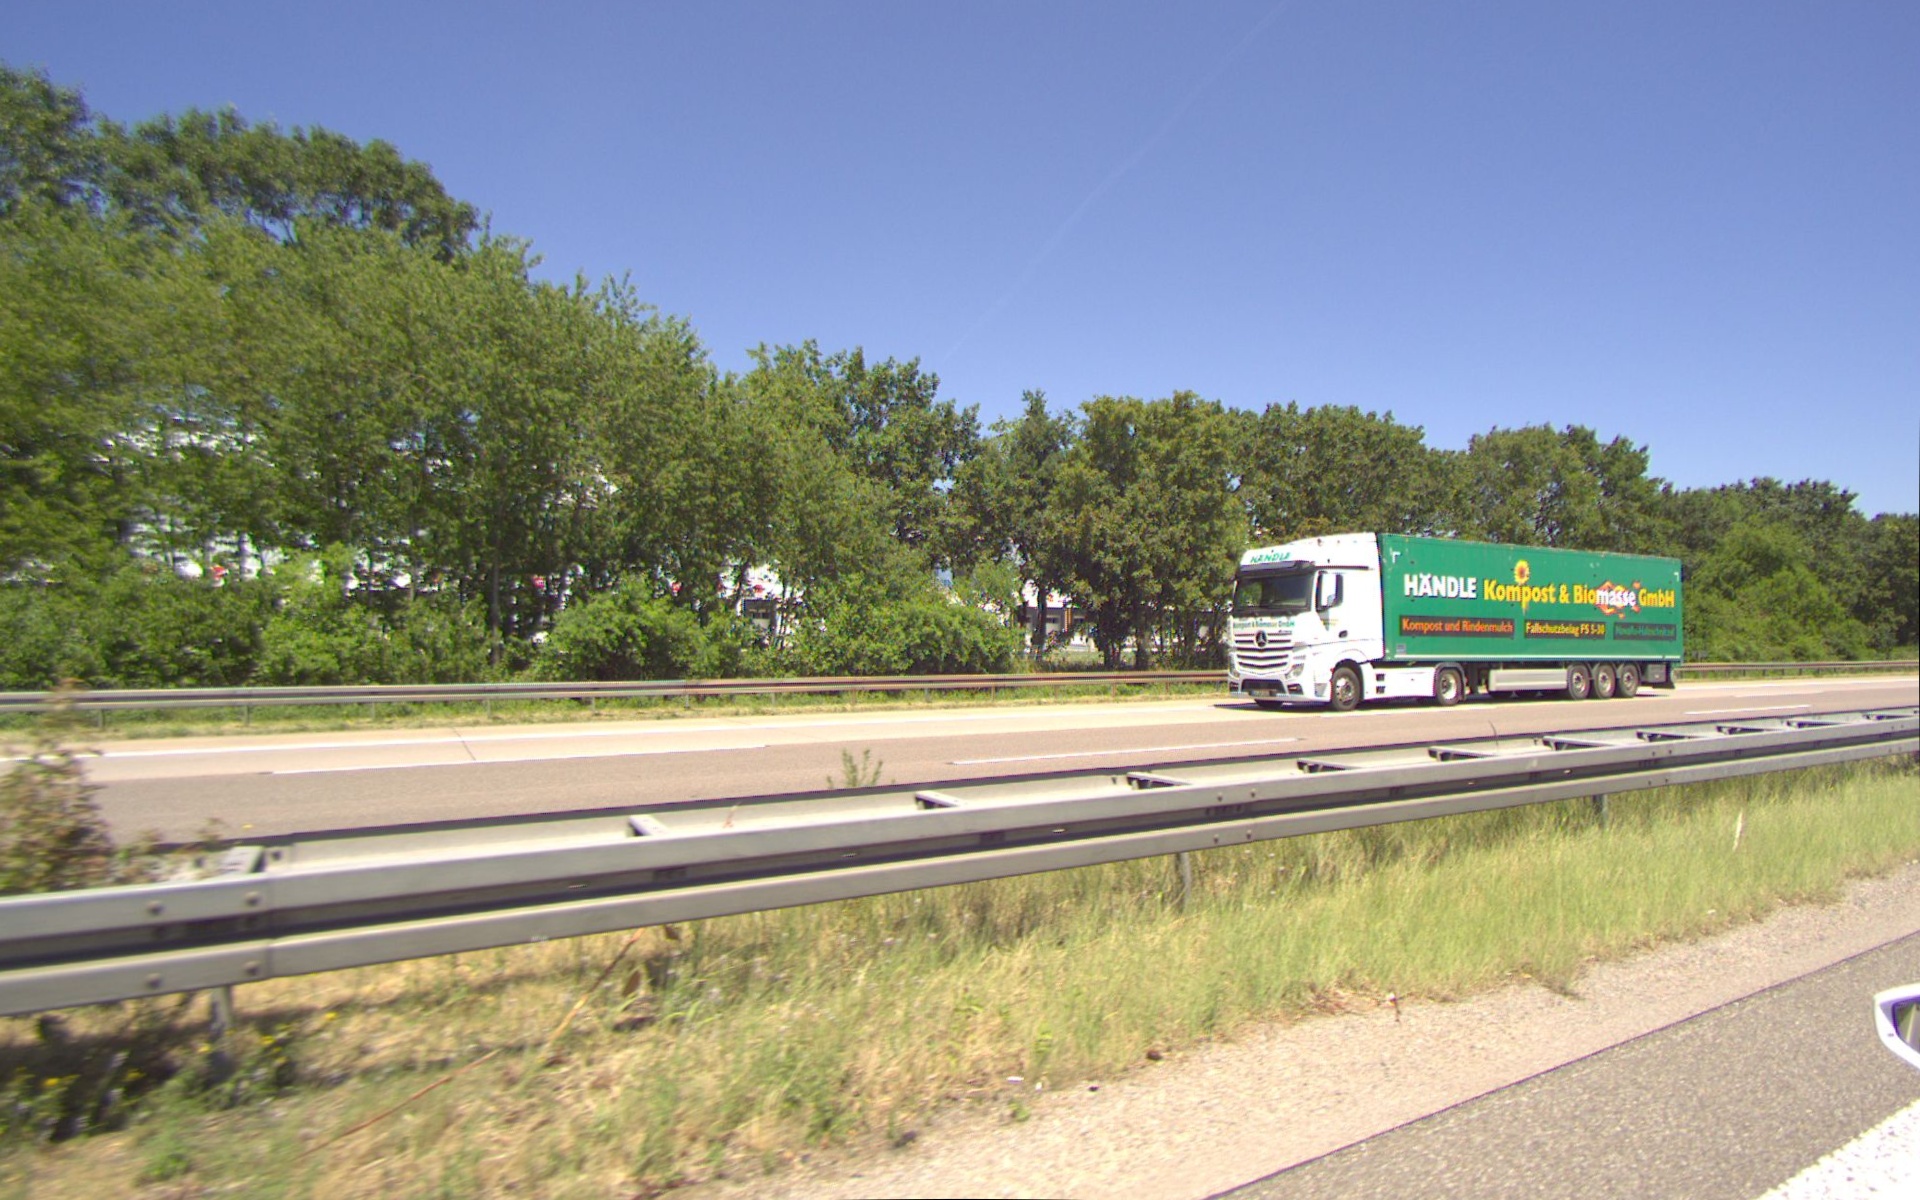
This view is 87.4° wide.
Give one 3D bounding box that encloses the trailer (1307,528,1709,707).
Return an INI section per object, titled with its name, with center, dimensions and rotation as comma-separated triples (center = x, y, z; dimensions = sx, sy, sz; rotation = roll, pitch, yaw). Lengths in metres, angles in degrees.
[trailer]
center = 15.396, 0.660, 27.481
dimensions = 13.515, 4.096, 2.865
rotation = 2, -4, -29

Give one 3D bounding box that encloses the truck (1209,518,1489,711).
[truck]
center = 9.341, 0.470, 24.046
dimensions = 6.256, 4.096, 2.865
rotation = 2, -4, -29
